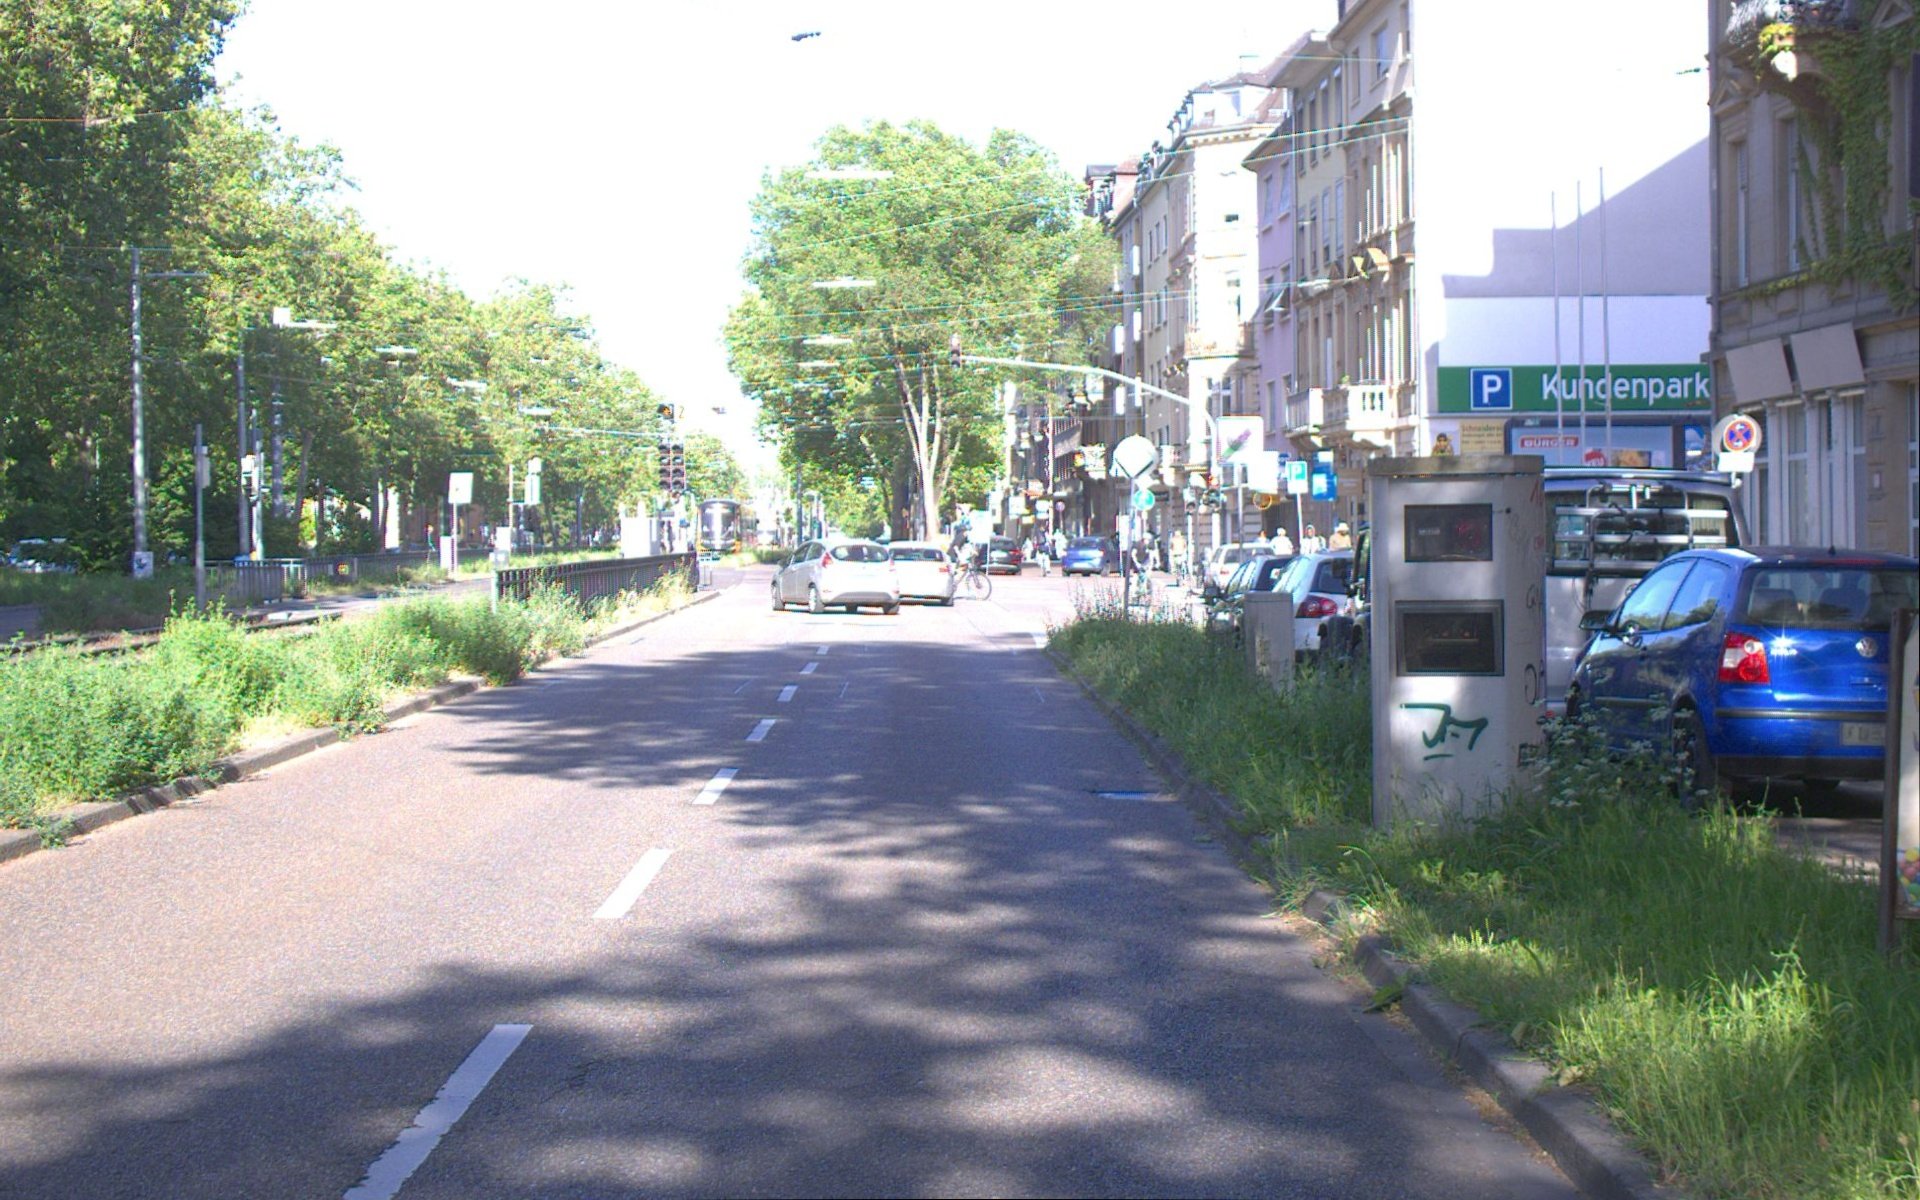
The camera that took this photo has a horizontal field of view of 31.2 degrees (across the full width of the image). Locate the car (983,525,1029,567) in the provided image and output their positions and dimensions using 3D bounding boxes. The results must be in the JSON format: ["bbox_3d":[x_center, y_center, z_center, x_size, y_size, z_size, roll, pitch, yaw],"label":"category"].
[{"bbox_3d":[1.703,-2.021,128.163,1.683,1.504,3.668,0,1,0],"label":"car"}]

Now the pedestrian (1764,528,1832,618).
[{"bbox_3d":[10.834,-0.355,44.460,0.707,1.147,0.740,0,1,0],"label":"pedestrian"}]

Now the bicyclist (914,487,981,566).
[{"bbox_3d":[-0.299,-1.756,82.526,1.325,1.875,0.980,0,2,25],"label":"bicyclist"}]

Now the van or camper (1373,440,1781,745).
[{"bbox_3d":[4.303,-0.102,24.803,1.839,1.956,5.127,0,1,-2],"label":"van or camper"}]

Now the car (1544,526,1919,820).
[{"bbox_3d":[4.591,0.340,19.515,1.682,1.508,3.668,0,1,-4],"label":"car"}]

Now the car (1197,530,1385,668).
[{"bbox_3d":[3.776,-0.043,39.741,1.683,1.504,3.668,0,1,-2],"label":"car"}]

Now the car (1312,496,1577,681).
[{"bbox_3d":[4.182,-0.150,30.143,1.683,1.504,3.668,-1,2,-2],"label":"car"}]

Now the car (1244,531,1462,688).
[{"bbox_3d":[3.972,0.059,35.271,1.683,1.504,3.668,0,1,-2],"label":"car"}]

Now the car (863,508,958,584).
[{"bbox_3d":[-1.138,-1.218,77.152,2.021,1.656,4.001,0,1,-2],"label":"car"}]

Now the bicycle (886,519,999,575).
[{"bbox_3d":[-0.432,-1.279,82.604,2.526,1.310,0.988,0,2,25],"label":"bicycle"}]

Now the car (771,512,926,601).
[{"bbox_3d":[-2.181,-0.861,66.084,2.021,1.656,4.001,0,1,-16],"label":"car"}]

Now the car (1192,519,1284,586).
[{"bbox_3d":[6.421,-1.125,79.702,1.683,1.504,3.668,0,1,-2],"label":"car"}]

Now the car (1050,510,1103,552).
[{"bbox_3d":[4.296,-2.539,126.787,1.683,1.504,3.668,0,1,-2],"label":"car"}]
